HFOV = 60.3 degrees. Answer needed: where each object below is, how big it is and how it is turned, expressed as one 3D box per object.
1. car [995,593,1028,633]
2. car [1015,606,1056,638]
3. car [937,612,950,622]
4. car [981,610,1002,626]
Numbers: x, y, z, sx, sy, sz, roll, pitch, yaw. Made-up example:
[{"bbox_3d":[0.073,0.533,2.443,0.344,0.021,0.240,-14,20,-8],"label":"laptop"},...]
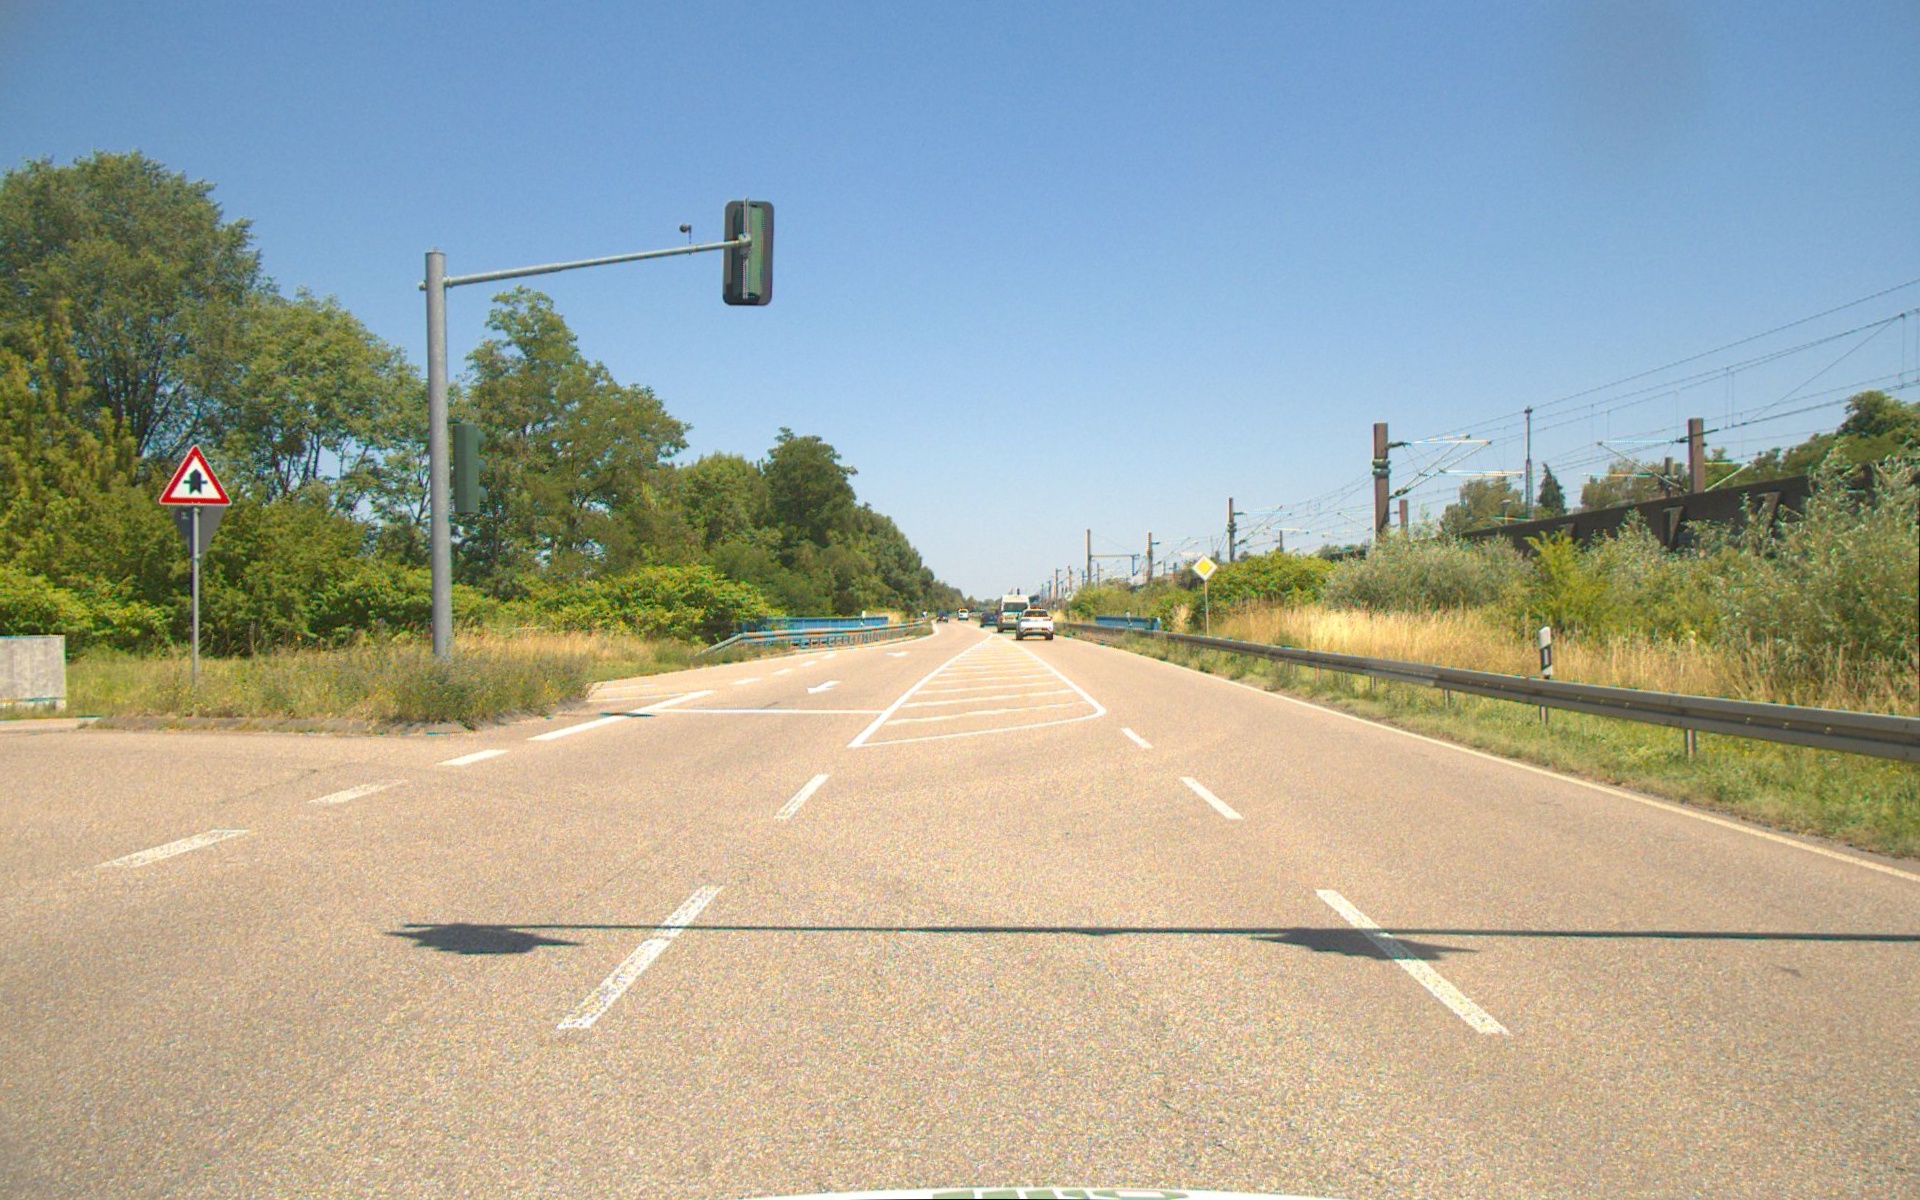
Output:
[{"bbox_3d":[3.560,0.868,114.410,2.143,2.649,6.751,1,0,1],"label":"car"},{"bbox_3d":[3.838,1.094,84.422,1.781,1.591,4.277,0,0,-1],"label":"car"},{"bbox_3d":[-2.439,2.400,240.462,1.819,1.404,4.503,1,0,0],"label":"car"},{"bbox_3d":[2.877,1.640,153.296,1.819,1.404,4.503,1,0,0],"label":"car"}]
